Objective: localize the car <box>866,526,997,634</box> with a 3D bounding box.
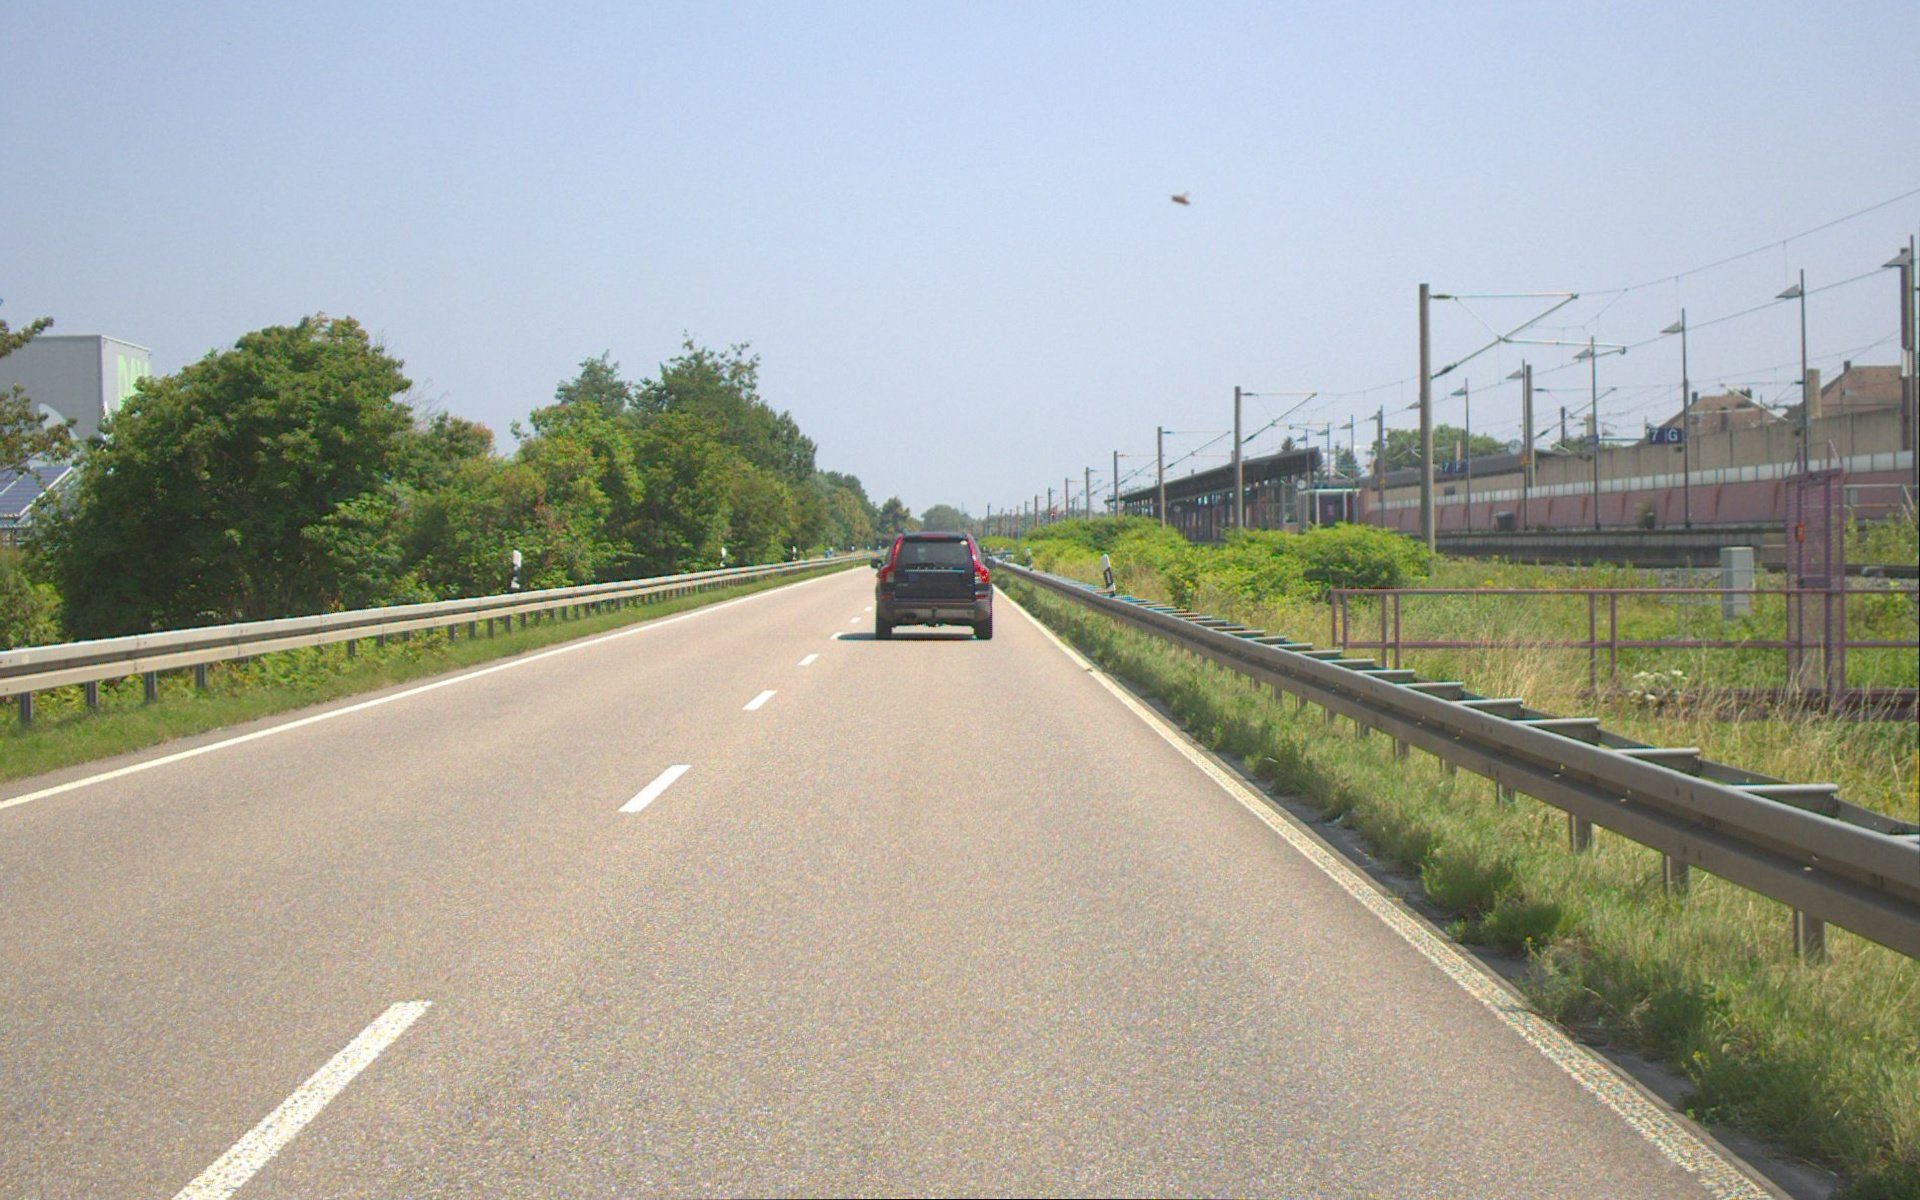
[{"bbox_3d":[-0.504,-0.351,56.056,1.993,1.694,4.001,0,1,-3],"label":"car"}]
